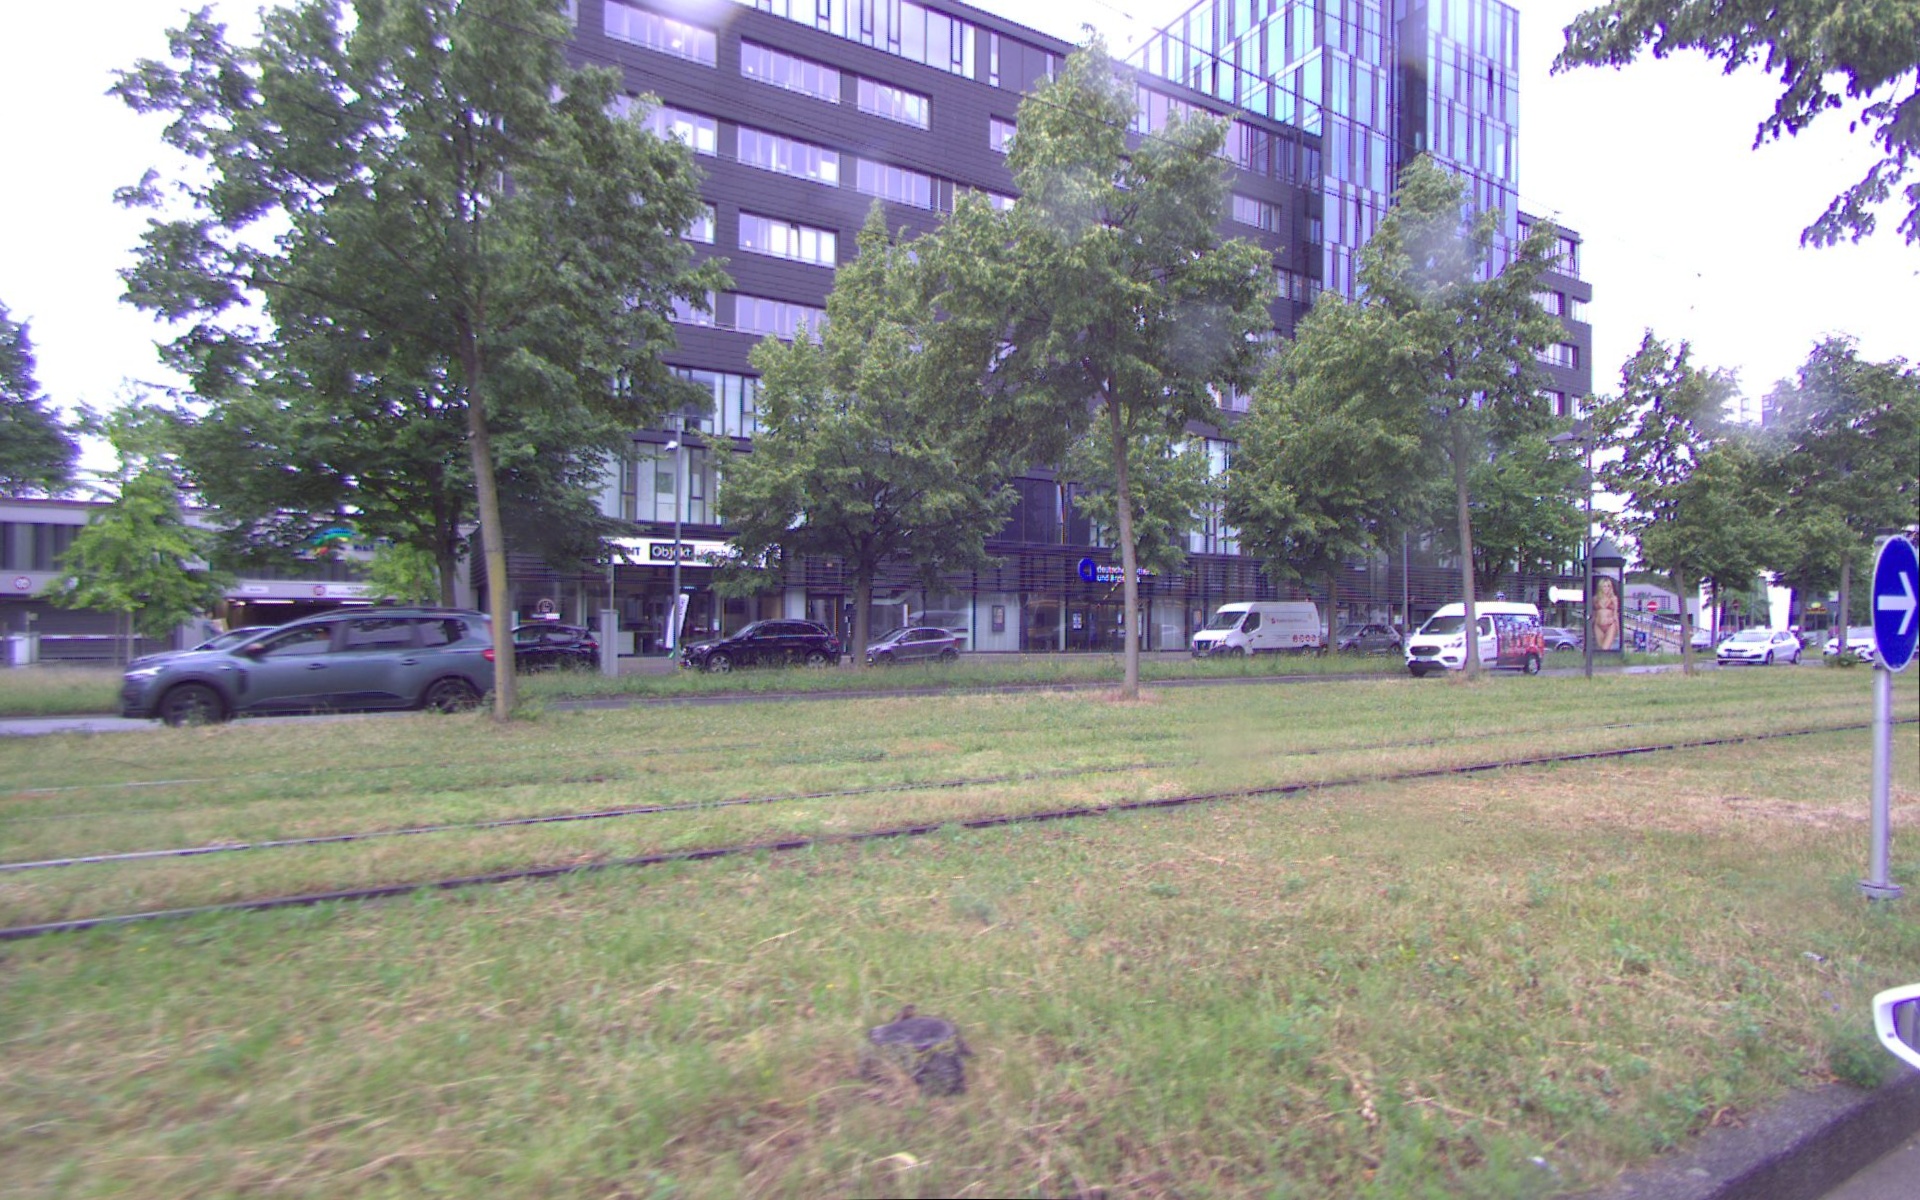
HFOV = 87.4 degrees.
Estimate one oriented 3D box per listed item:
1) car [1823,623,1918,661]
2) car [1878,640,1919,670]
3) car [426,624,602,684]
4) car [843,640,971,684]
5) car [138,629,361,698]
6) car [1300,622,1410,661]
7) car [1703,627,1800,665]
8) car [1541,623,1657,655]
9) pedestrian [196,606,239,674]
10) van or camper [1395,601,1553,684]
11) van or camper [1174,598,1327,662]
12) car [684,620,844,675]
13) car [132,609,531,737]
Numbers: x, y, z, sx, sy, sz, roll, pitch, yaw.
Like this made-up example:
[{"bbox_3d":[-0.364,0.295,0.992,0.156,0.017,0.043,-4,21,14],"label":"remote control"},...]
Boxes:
[{"bbox_3d":[36.027,1.646,39.722,3.953,1.423,1.702,1,-1,-30],"label":"car"},{"bbox_3d":[50.378,2.860,52.970,3.953,1.479,1.876,1,-1,-30],"label":"car"},{"bbox_3d":[-11.402,1.324,25.697,3.953,1.397,1.984,1,-1,-30],"label":"car"},{"bbox_3d":[-1.845,2.129,35.153,4.134,1.397,1.808,1,-1,-30],"label":"car"},{"bbox_3d":[-15.986,1.384,22.893,3.953,1.397,1.984,1,-1,-30],"label":"car"},{"bbox_3d":[16.614,1.722,42.229,4.555,1.542,1.983,1,-1,-32],"label":"car"},{"bbox_3d":[33.070,1.881,41.959,3.953,1.479,1.876,1,-1,-30],"label":"car"},{"bbox_3d":[32.727,1.961,51.579,4.586,1.542,2.001,0,-1,15],"label":"car"},{"bbox_3d":[-22.171,1.179,30.020,0.843,2.007,0.793,1,0,-22],"label":"pedestrian"},{"bbox_3d":[16.376,1.313,31.948,5.338,2.442,1.901,1,-1,-30],"label":"van or camper"},{"bbox_3d":[11.372,1.152,39.197,5.781,2.346,2.422,1,-1,-30],"label":"van or camper"},{"bbox_3d":[-5.620,1.320,28.936,4.191,1.468,1.694,1,-1,-30],"label":"car"},{"bbox_3d":[-8.488,0.928,14.008,4.425,1.544,1.854,1,-1,-30],"label":"car"}]
